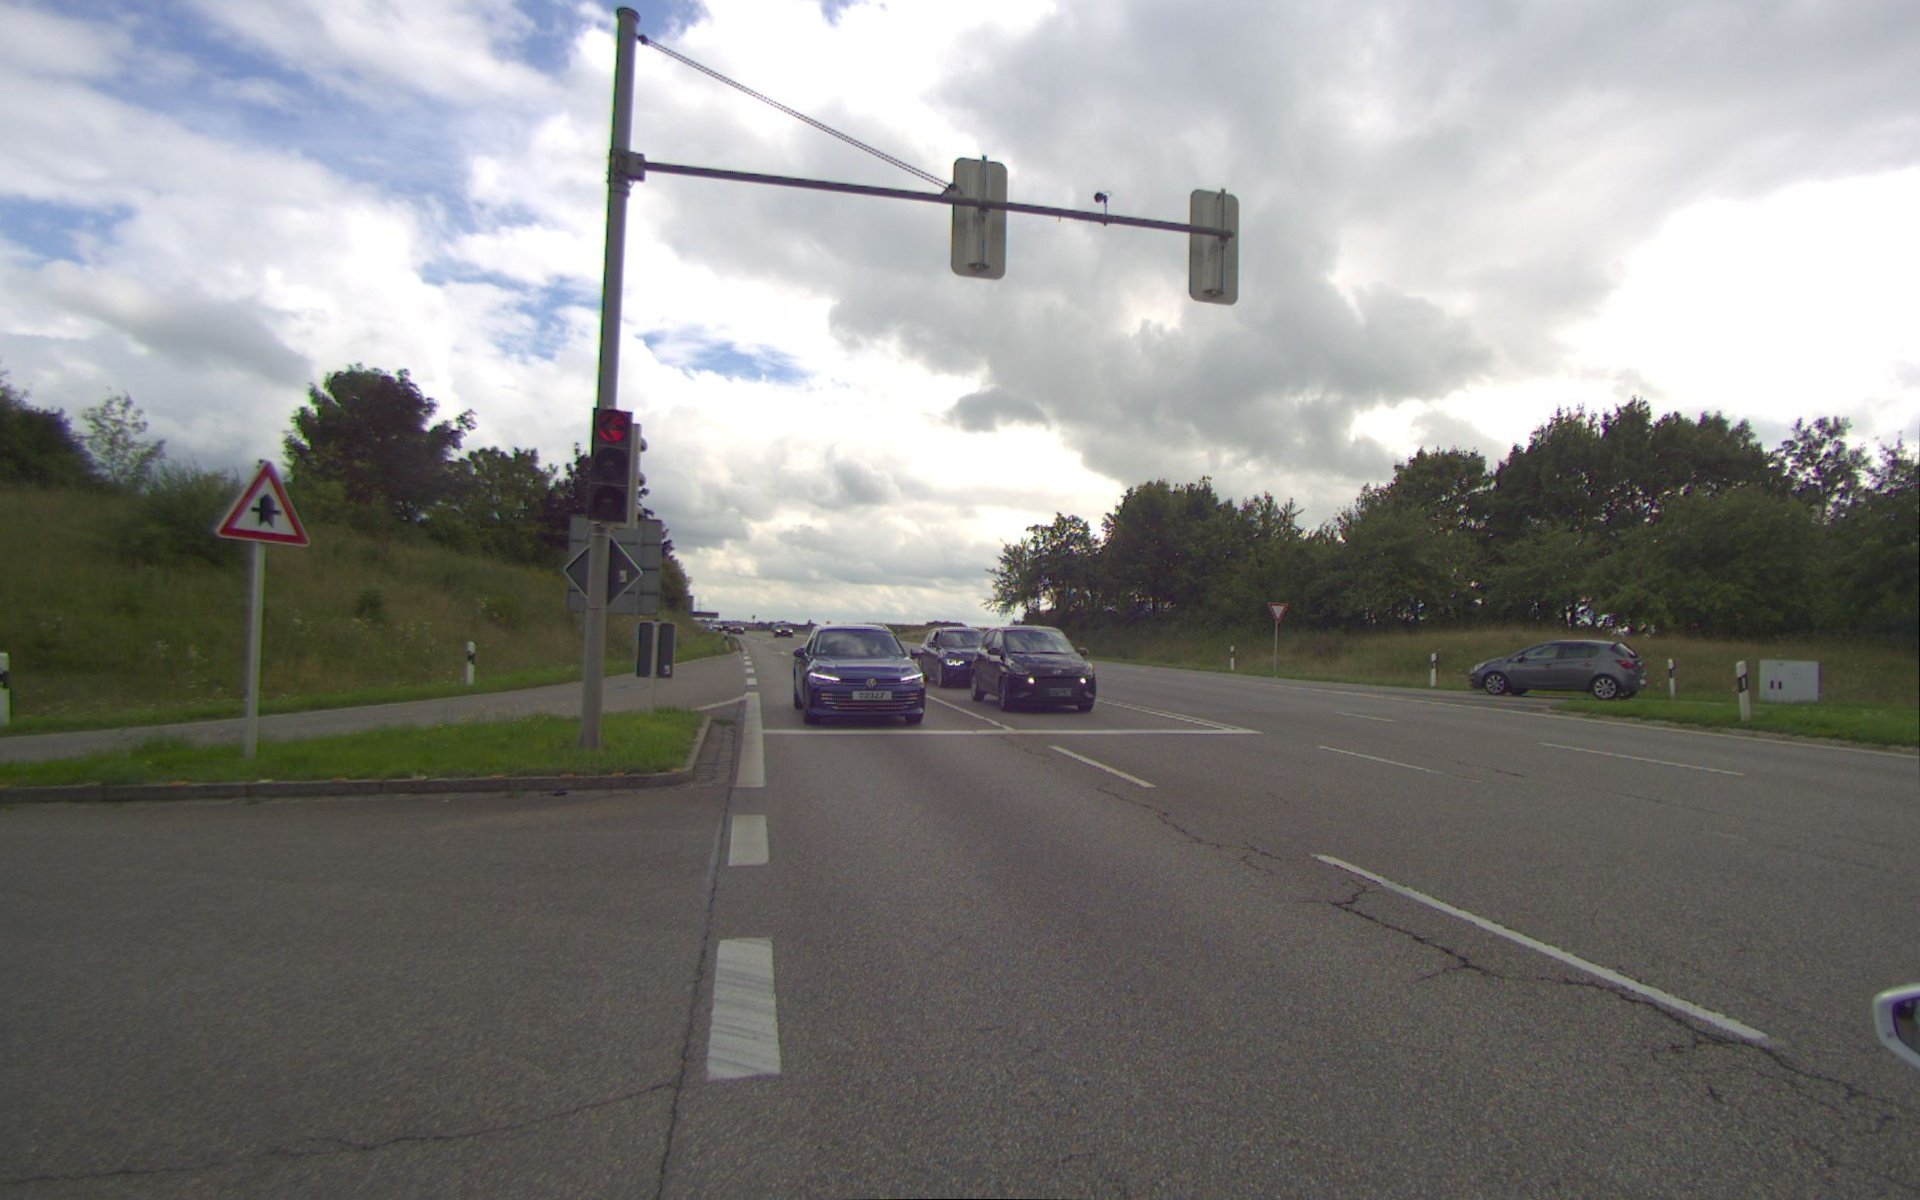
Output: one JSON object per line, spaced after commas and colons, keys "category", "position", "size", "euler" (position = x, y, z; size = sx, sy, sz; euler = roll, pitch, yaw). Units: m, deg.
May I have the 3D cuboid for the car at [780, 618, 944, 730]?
{"category": "car", "position": [-1.810, 1.115, 16.690], "size": [2.017, 1.555, 5.113], "euler": [2, -2, -13]}

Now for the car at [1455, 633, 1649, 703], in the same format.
{"category": "car", "position": [15.286, 1.718, 26.051], "size": [1.987, 1.555, 3.948], "euler": [4, -2, -43]}

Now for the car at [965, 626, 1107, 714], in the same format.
{"category": "car", "position": [1.315, 1.237, 18.966], "size": [1.701, 1.462, 3.936], "euler": [1, -1, -11]}

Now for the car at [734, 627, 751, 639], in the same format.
{"category": "car", "position": [-28.046, 4.260, 129.581], "size": [1.966, 1.514, 4.979], "euler": [1, -2, -14]}

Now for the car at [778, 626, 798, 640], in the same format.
{"category": "car", "position": [-18.224, 3.449, 106.381], "size": [1.741, 1.401, 4.532], "euler": [2, -2, -14]}

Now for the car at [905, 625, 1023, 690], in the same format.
{"category": "car", "position": [-0.016, 1.404, 25.998], "size": [2.019, 1.503, 4.870], "euler": [1, -1, -13]}
